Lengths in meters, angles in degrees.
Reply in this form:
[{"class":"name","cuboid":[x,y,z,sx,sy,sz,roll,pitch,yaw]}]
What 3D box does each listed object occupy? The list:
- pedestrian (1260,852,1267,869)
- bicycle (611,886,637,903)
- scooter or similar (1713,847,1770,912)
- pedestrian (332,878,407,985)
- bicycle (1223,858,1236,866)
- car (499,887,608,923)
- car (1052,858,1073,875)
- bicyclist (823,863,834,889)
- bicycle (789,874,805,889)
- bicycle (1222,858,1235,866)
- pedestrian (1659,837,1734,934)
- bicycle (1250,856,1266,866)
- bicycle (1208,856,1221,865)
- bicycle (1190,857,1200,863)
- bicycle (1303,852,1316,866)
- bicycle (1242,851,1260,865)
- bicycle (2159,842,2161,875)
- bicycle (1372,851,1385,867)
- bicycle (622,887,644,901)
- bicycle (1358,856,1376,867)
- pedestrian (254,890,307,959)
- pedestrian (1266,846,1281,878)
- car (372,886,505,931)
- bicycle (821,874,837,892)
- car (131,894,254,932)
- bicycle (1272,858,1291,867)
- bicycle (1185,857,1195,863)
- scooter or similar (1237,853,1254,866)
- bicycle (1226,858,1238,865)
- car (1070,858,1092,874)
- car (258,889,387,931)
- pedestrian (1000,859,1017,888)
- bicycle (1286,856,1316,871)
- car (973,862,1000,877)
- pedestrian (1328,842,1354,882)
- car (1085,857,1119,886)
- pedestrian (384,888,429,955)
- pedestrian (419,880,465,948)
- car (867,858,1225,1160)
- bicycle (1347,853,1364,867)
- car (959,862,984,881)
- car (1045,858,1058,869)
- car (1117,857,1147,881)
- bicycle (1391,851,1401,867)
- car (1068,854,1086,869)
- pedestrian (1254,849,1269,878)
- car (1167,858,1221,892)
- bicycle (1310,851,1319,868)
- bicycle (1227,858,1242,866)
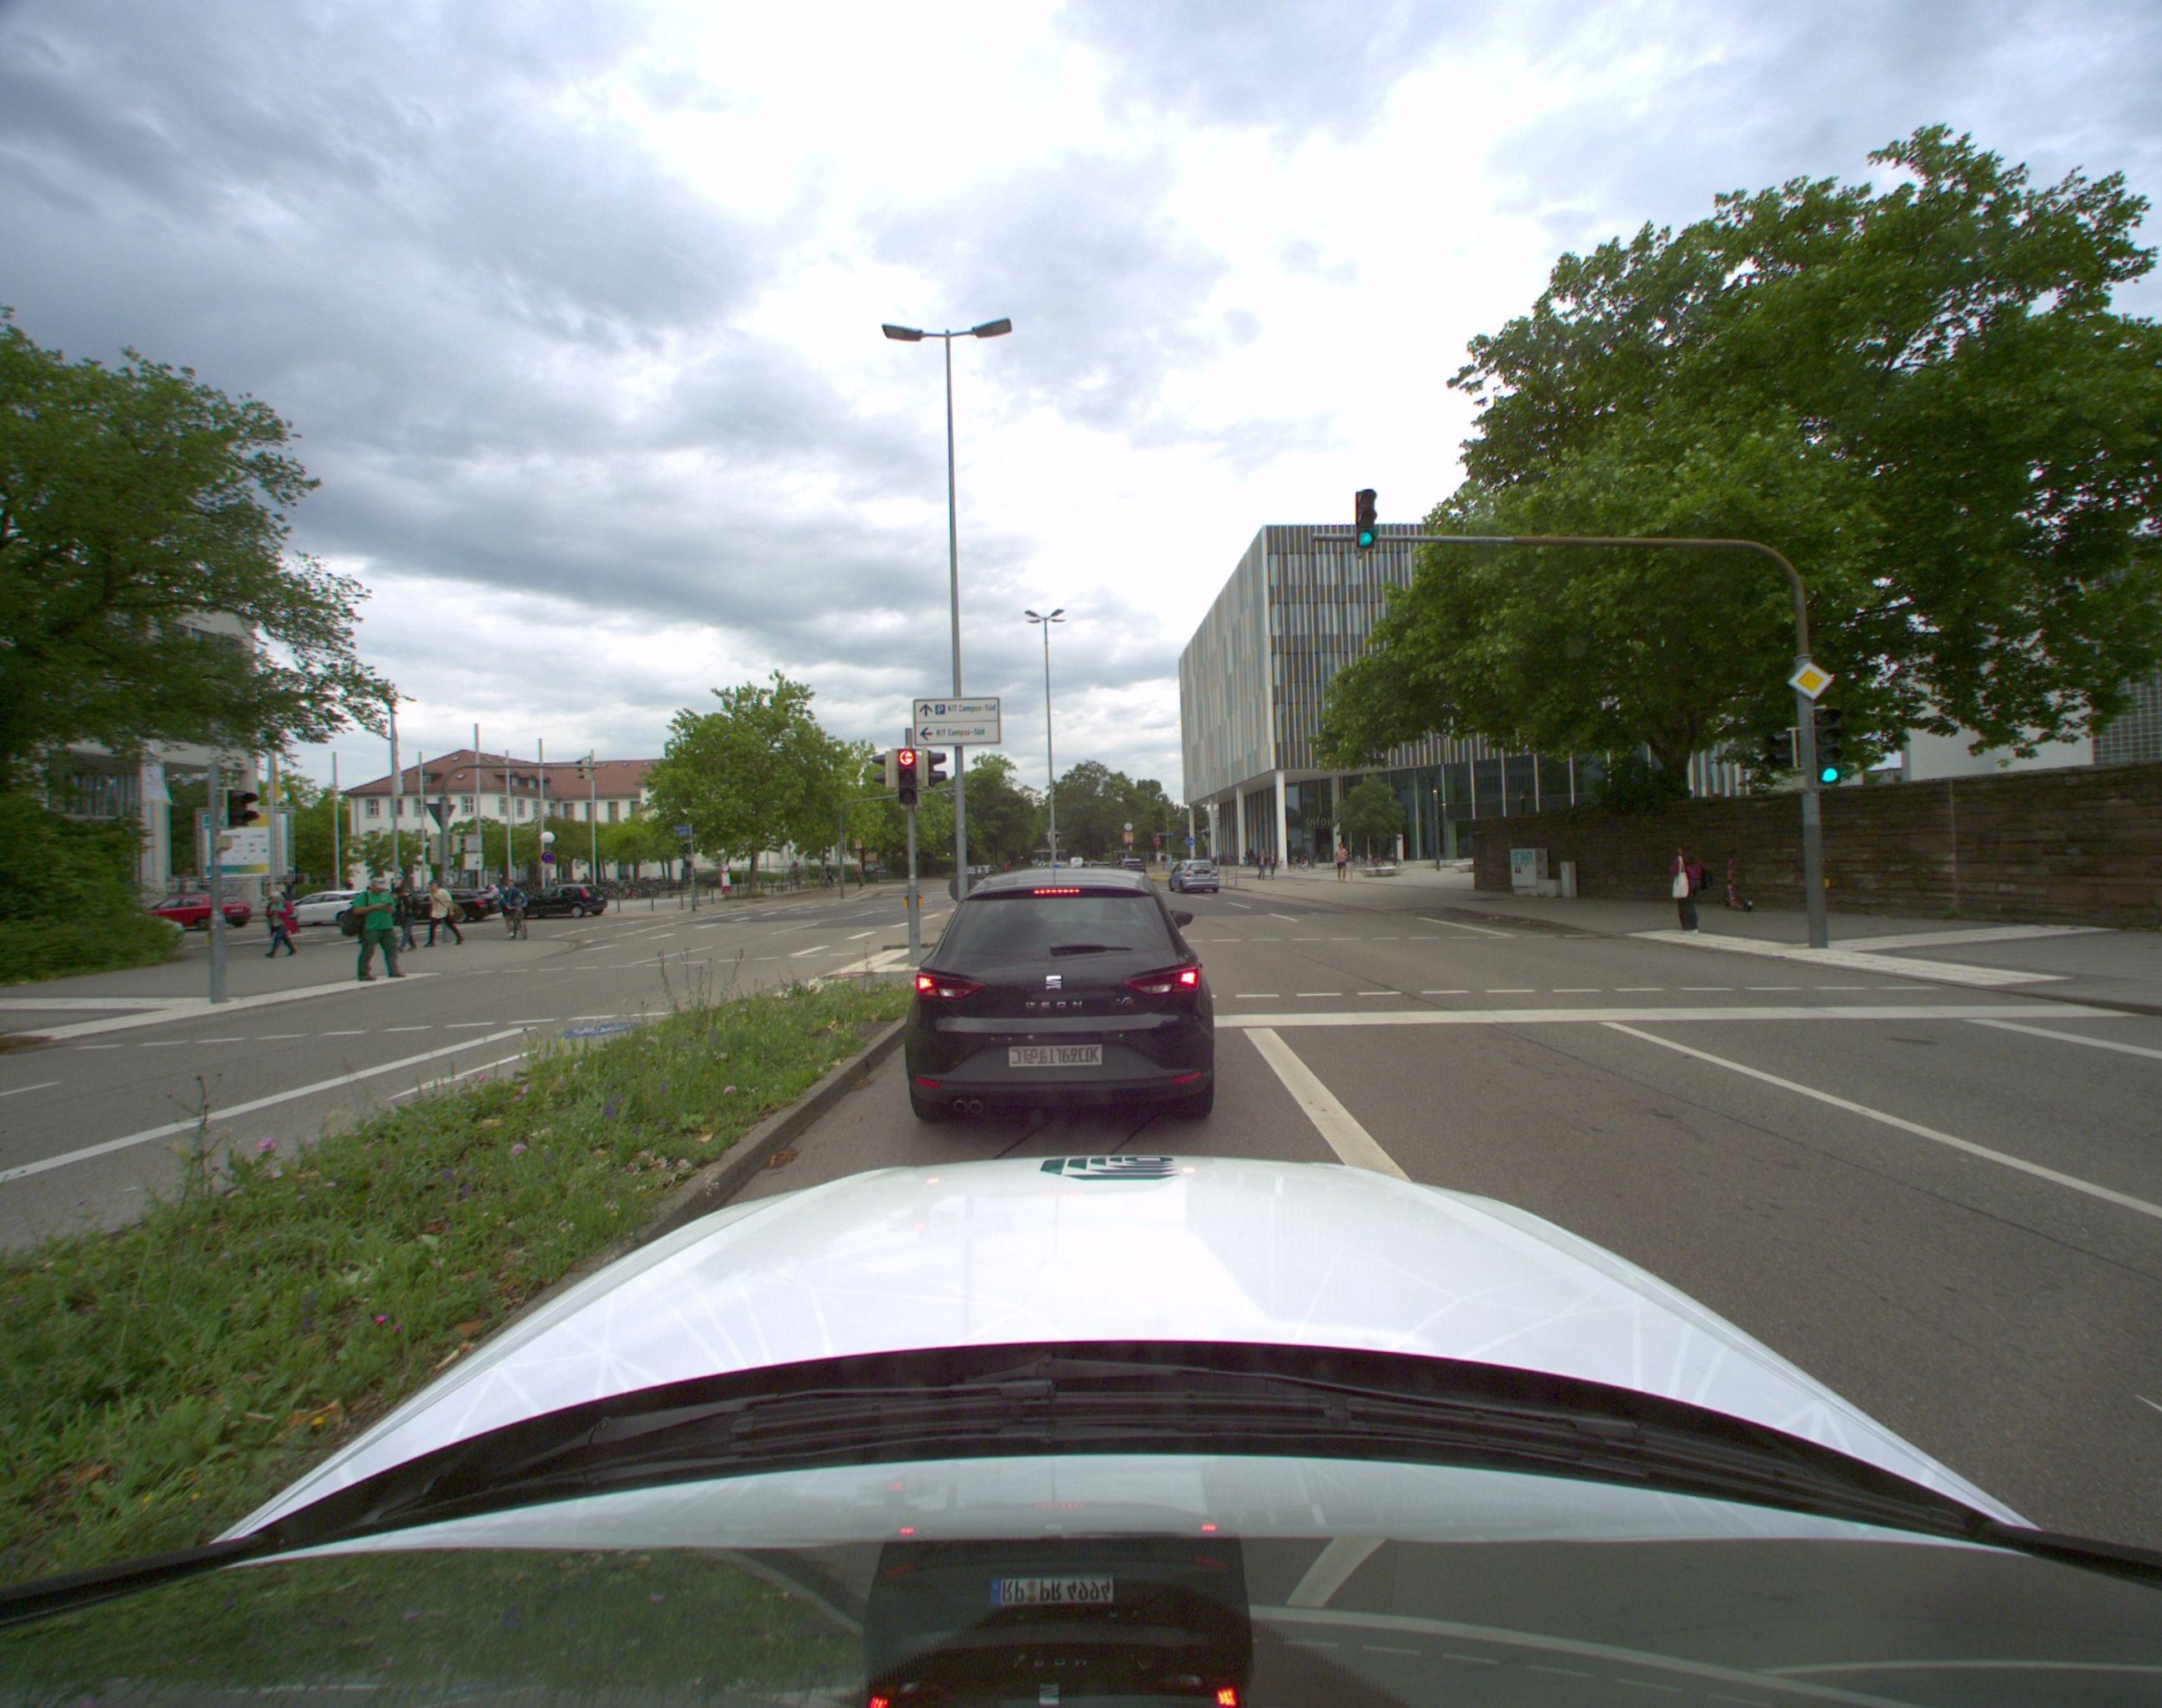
[{"class":"pedestrian","cuboid":[15.322,0.535,68.496,0.469,1.361,0.447,-3,0,12]},{"class":"bicycle","cuboid":[-31.081,2.731,55.424,1.405,1.052,0.585,-4,0,-19]},{"class":"scooter or similar","cuboid":[13.092,0.478,16.175,0.428,1.179,1.714,-4,0,26]},{"class":"pedestrian","cuboid":[-12.374,1.304,14.166,0.948,1.759,0.865,0,-2,-42]},{"class":"bicycle","cuboid":[15.629,0.853,85.790,1.366,0.705,0.490,-3,0,10]},{"class":"car","cuboid":[-23.215,2.226,35.953,3.649,1.223,1.562,-2,7,-5]},{"class":"car","cuboid":[-1.676,1.135,73.504,1.777,1.463,3.866,-1,0,-3]},{"class":"bicyclist","cuboid":[-15.989,1.364,51.604,0.489,1.624,0.588,0,1,1]},{"class":"bicycle","cuboid":[-20.982,2.014,60.184,0.606,1.060,2.041,-3,0,-5]},{"class":"bicycle","cuboid":[15.705,0.831,86.681,1.232,0.705,0.490,-3,0,10]},{"class":"pedestrian","cuboid":[10.459,0.519,13.861,0.657,1.561,0.636,-6,0,1]},{"class":"bicycle","cuboid":[16.466,0.639,75.800,1.445,0.857,0.362,-4,0,-25]},{"class":"bicycle","cuboid":[14.985,0.749,91.671,1.379,0.942,0.489,-3,0,8]},{"class":"bicycle","cuboid":[14.951,0.762,106.694,1.239,0.823,0.479,0,-1,-21]},{"class":"bicycle","cuboid":[18.793,0.435,66.899,0.614,1.045,1.716,-3,0,28]},{"class":"bicycle","cuboid":[16.177,0.409,77.516,1.785,1.211,0.564,-4,0,-32]},{"class":"bicycle","cuboid":[13.556,0.405,8.916,0.801,1.174,1.952,-5,0,-3]},{"class":"bicycle","cuboid":[21.660,0.379,59.242,0.802,1.056,1.959,-3,0,21]},{"class":"bicycle","cuboid":[-30.903,2.775,56.185,1.211,0.880,0.262,-4,0,-22]},{"class":"bicycle","cuboid":[21.189,0.526,60.296,1.535,0.716,0.513,-4,0,-42]},{"class":"pedestrian","cuboid":[-18.592,1.637,18.932,0.572,1.527,0.842,-2,-5,-22]},{"class":"pedestrian","cuboid":[11.039,0.467,46.662,0.684,1.781,0.677,-2,0,1]},{"class":"car","cuboid":[-27.573,2.301,35.079,4.059,1.452,1.615,-3,5,-16]},{"class":"bicycle","cuboid":[-15.980,1.834,51.616,0.486,1.005,1.590,-1,1,2]},{"class":"car","cuboid":[-38.113,2.512,34.994,3.341,1.479,1.559,-1,0,-5]},{"class":"bicycle","cuboid":[17.075,0.722,69.431,1.475,0.748,0.566,-4,0,-2]},{"class":"bicycle","cuboid":[14.556,0.794,108.778,1.262,0.848,0.479,1,-2,-21]},{"class":"scooter or similar","cuboid":[15.792,0.547,78.103,1.682,1.106,0.494,-4,0,-30]},{"class":"bicycle","cuboid":[16.208,0.798,87.351,1.266,0.705,0.486,-3,0,8]},{"class":"car","cuboid":[0.025,1.167,79.192,1.817,1.551,4.531,0,-1,4]},{"class":"car","cuboid":[-33.047,2.418,35.562,3.868,1.539,1.684,-2,2,-2]},{"class":"pedestrian","cuboid":[-4.141,1.121,46.827,0.873,1.586,0.542,-3,0,-5]},{"class":"bicycle","cuboid":[15.109,0.633,55.988,1.892,0.898,0.693,-4,0,-20]},{"class":"car","cuboid":[-11.221,1.843,96.670,1.746,1.587,4.016,-3,0,15]},{"class":"pedestrian","cuboid":[11.867,0.355,37.216,0.844,1.765,0.768,-3,0,1]},{"class":"car","cuboid":[1.210,1.012,48.451,1.877,1.600,4.447,0,0,0]},{"class":"pedestrian","cuboid":[-16.227,1.612,19.596,0.796,1.558,0.691,0,-5,-42]},{"class":"pedestrian","cuboid":[-17.118,1.608,21.838,0.845,1.740,0.823,-1,-5,-29]},{"class":"car","cuboid":[-0.042,0.768,5.868,1.745,1.432,3.773,-1,0,4]},{"class":"bicycle","cuboid":[20.502,0.471,60.827,0.688,0.946,1.997,-3,0,32]},{"class":"car","cuboid":[-11.680,1.837,86.770,1.899,1.717,4.002,-3,0,2]},{"class":"car","cuboid":[-4.052,1.328,111.144,1.719,1.414,4.239,-1,0,-4]},{"class":"car","cuboid":[3.556,1.024,57.715,1.901,1.624,4.491,-1,0,1]},{"class":"bicycle","cuboid":[22.537,0.319,58.296,0.616,1.056,1.959,-3,0,21]},{"class":"car","cuboid":[-0.552,1.043,114.295,1.965,1.972,4.332,0,0,-7]},{"class":"pedestrian","cuboid":[10.333,0.552,46.620,0.684,1.640,0.633,-1,0,1]},{"class":"car","cuboid":[5.164,0.929,37.582,1.664,1.466,3.653,-1,0,-5]},{"class":"bicycle","cuboid":[18.405,0.402,64.114,0.522,1.253,1.674,-3,0,20]},{"class":"bicycle","cuboid":[15.834,0.821,83.987,1.368,0.705,0.416,-4,0,4]}]
